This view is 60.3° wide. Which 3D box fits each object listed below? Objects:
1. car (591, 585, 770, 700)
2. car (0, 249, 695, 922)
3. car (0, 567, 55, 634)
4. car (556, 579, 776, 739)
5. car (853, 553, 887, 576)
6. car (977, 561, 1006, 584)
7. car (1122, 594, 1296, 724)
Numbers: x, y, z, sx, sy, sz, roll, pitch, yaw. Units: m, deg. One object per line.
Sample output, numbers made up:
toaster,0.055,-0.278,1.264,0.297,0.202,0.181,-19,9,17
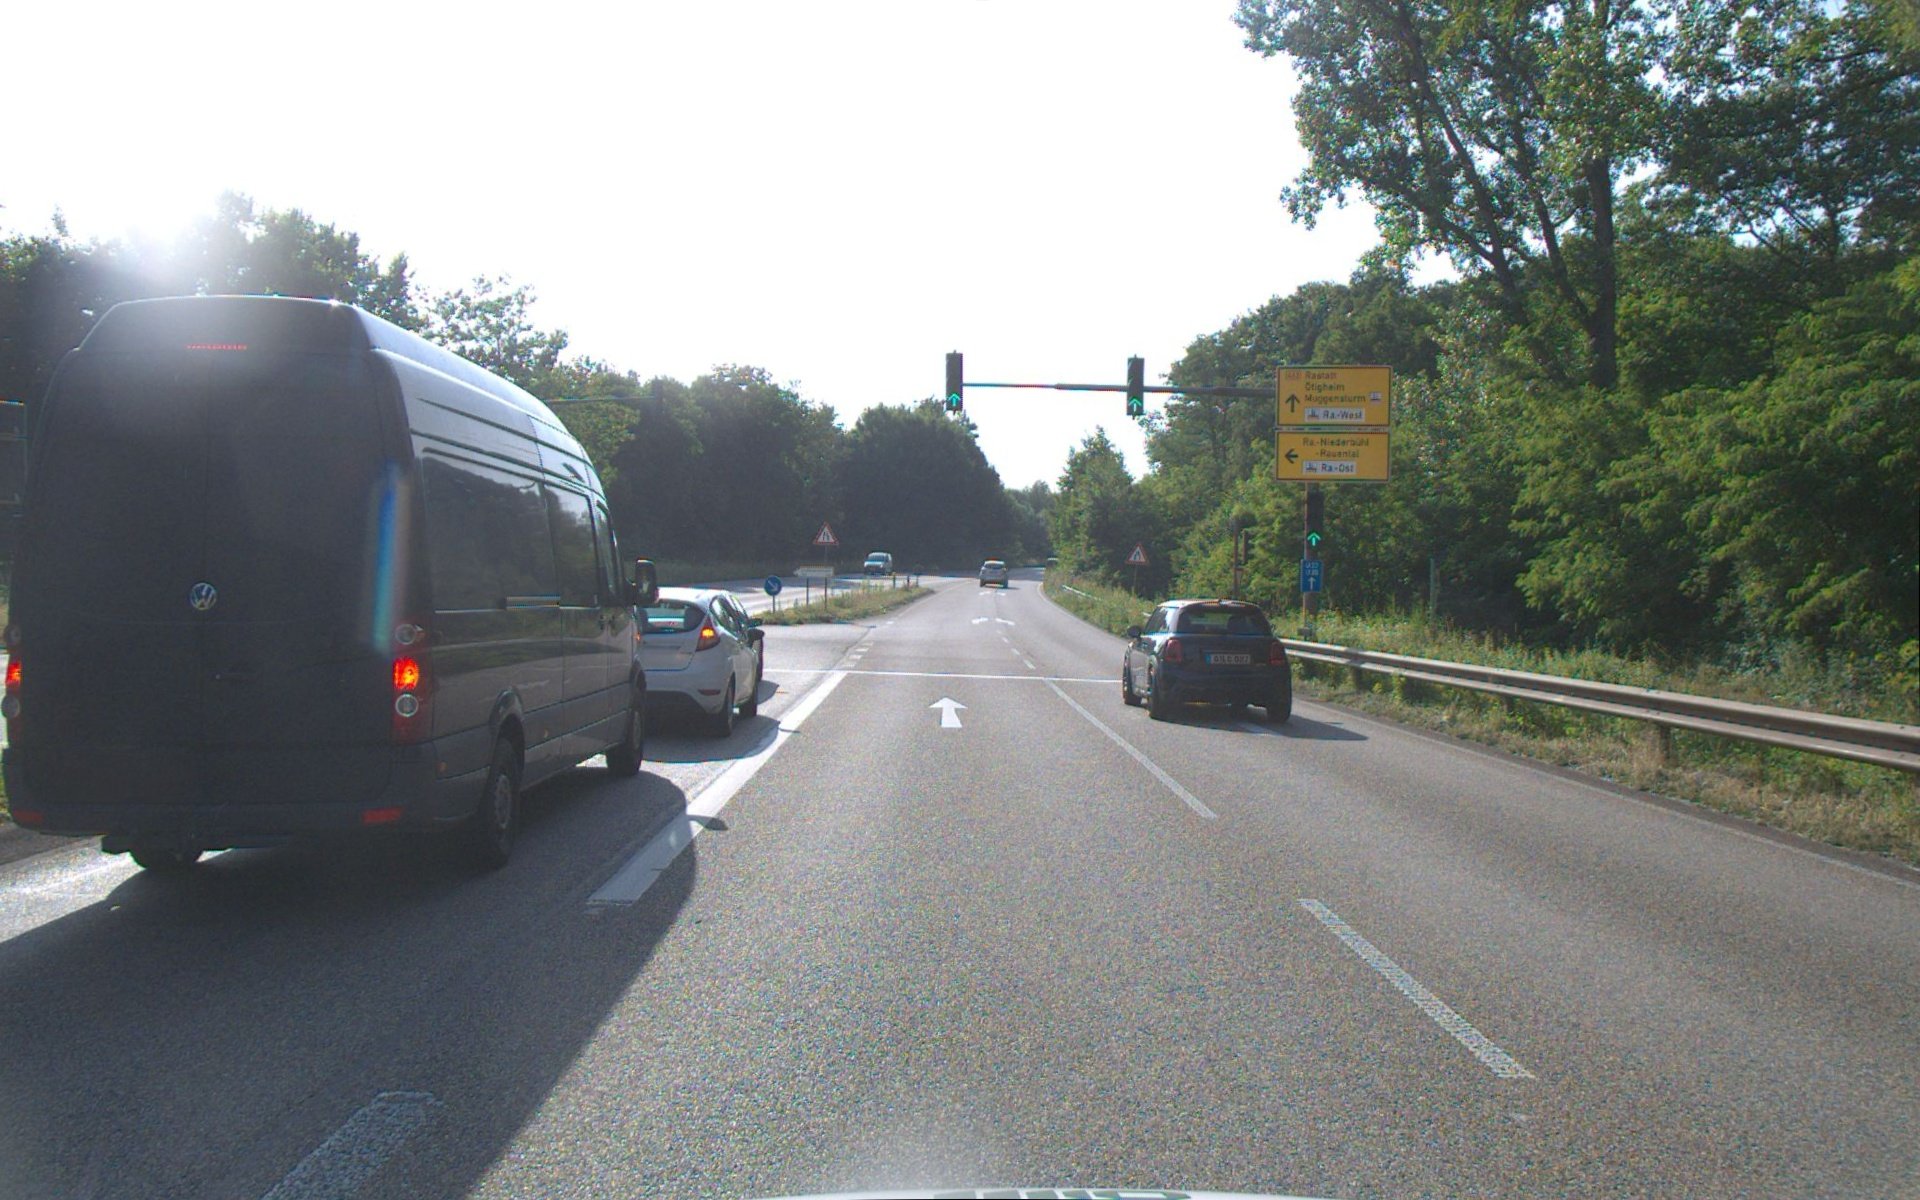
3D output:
car,-3.841,0.521,23.475,1.699,1.446,4.802,0,1,0
car,-3.501,-0.094,10.762,2.164,2.939,7.013,0,1,2
car,-24.501,-0.069,39.391,4.615,1.516,2.168,2,0,-2
car,-3.020,0.540,17.758,1.612,1.515,4.104,0,1,0
car,-7.482,-2.925,137.521,1.811,1.817,4.674,2,1,8
car,2.102,-1.816,110.261,1.724,1.404,3.973,2,1,3
car,3.114,0.686,21.379,1.782,1.493,3.874,1,0,2
